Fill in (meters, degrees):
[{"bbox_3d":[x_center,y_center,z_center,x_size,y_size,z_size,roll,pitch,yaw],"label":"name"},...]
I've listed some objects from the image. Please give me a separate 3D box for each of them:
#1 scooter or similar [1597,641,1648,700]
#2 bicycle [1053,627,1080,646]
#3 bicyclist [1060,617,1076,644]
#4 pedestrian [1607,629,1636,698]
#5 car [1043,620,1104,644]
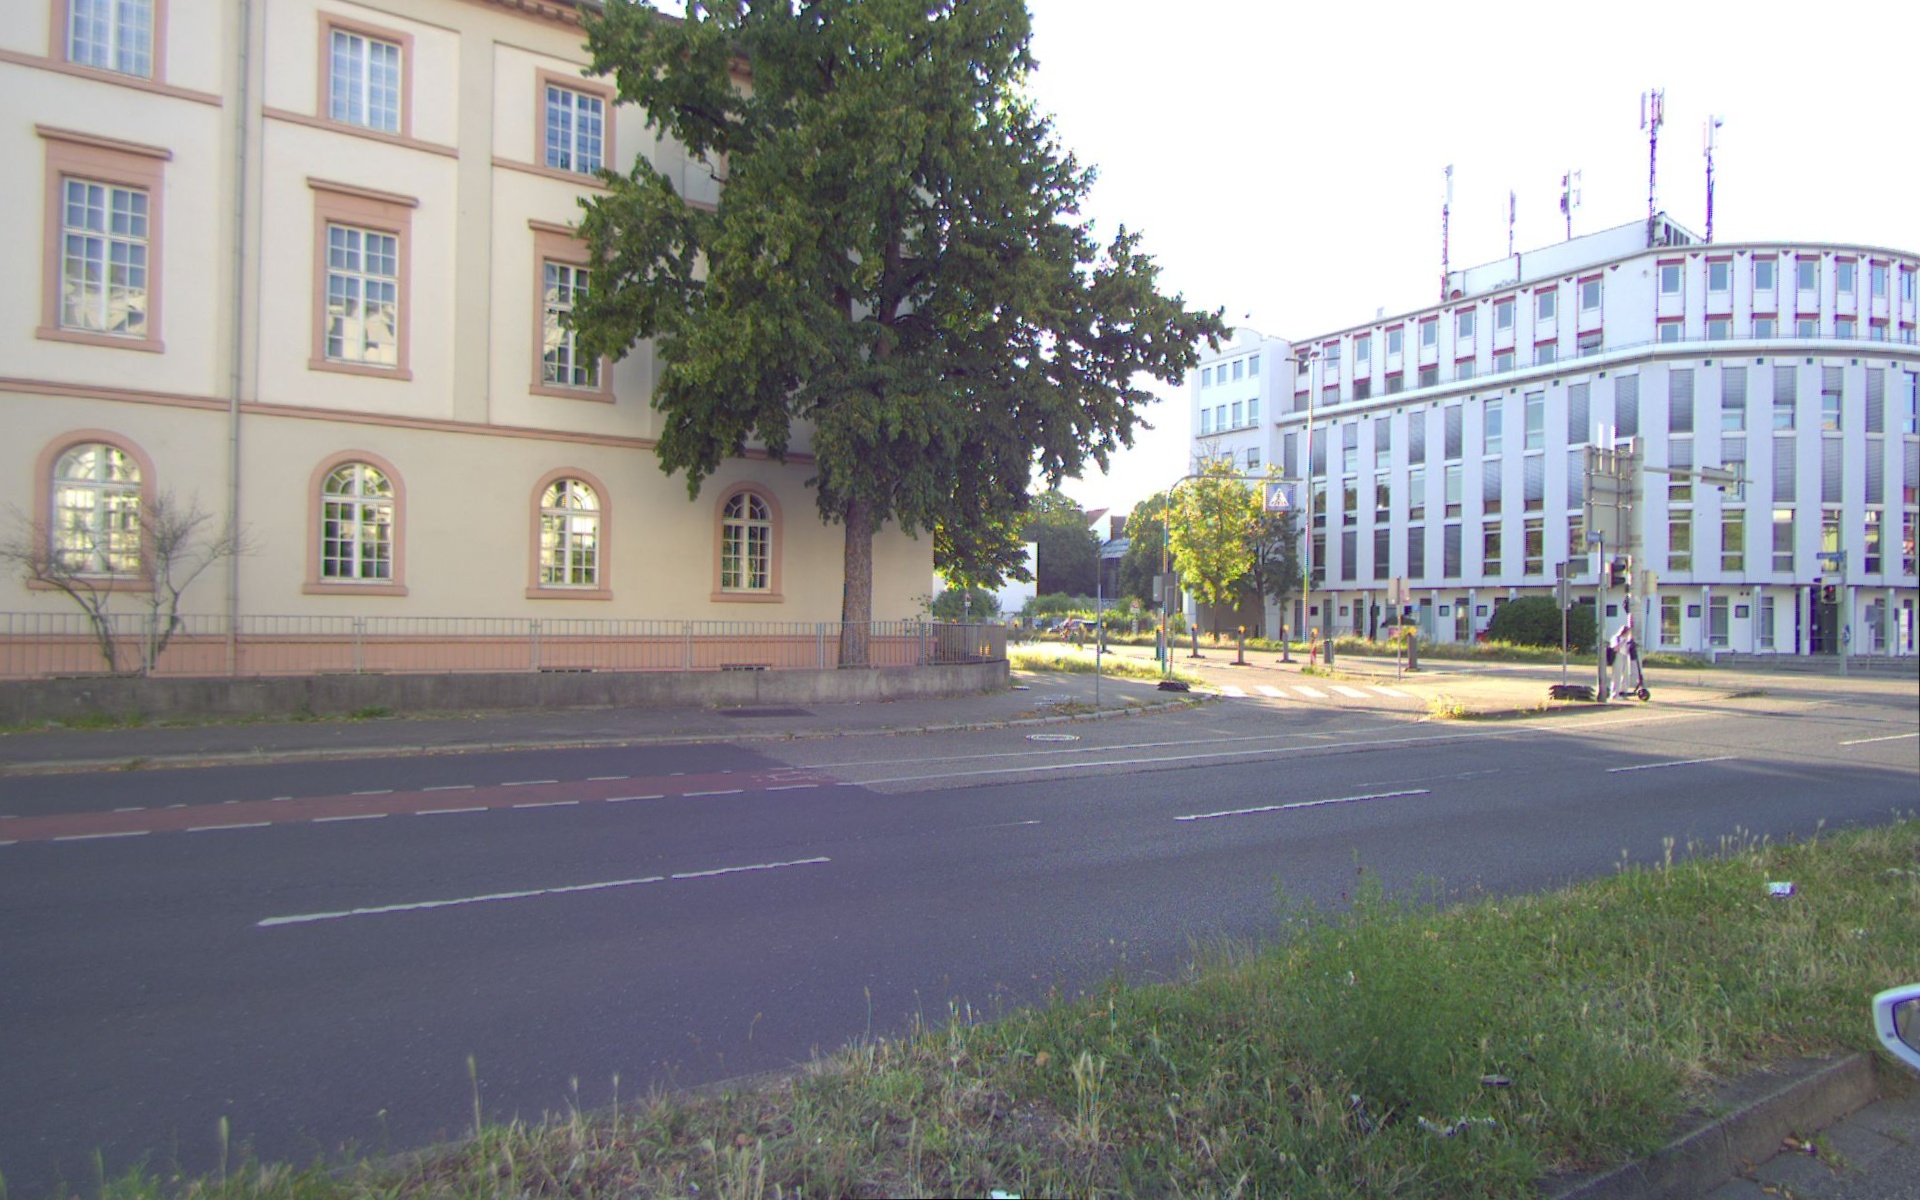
[{"bbox_3d":[14.633,1.539,22.191,0.368,1.250,0.885,1,-1,-40],"label":"scooter or similar"},{"bbox_3d":[6.131,2.107,57.786,0.498,1.056,1.786,1,-1,-35],"label":"bicycle"},{"bbox_3d":[6.186,1.742,57.724,0.453,1.516,0.879,1,-1,-36],"label":"bicyclist"},{"bbox_3d":[14.713,1.401,22.347,0.332,1.525,0.470,1,-1,-41],"label":"pedestrian"},{"bbox_3d":[7.688,2.152,68.435,1.770,1.570,4.310,1,-1,-35],"label":"car"}]
